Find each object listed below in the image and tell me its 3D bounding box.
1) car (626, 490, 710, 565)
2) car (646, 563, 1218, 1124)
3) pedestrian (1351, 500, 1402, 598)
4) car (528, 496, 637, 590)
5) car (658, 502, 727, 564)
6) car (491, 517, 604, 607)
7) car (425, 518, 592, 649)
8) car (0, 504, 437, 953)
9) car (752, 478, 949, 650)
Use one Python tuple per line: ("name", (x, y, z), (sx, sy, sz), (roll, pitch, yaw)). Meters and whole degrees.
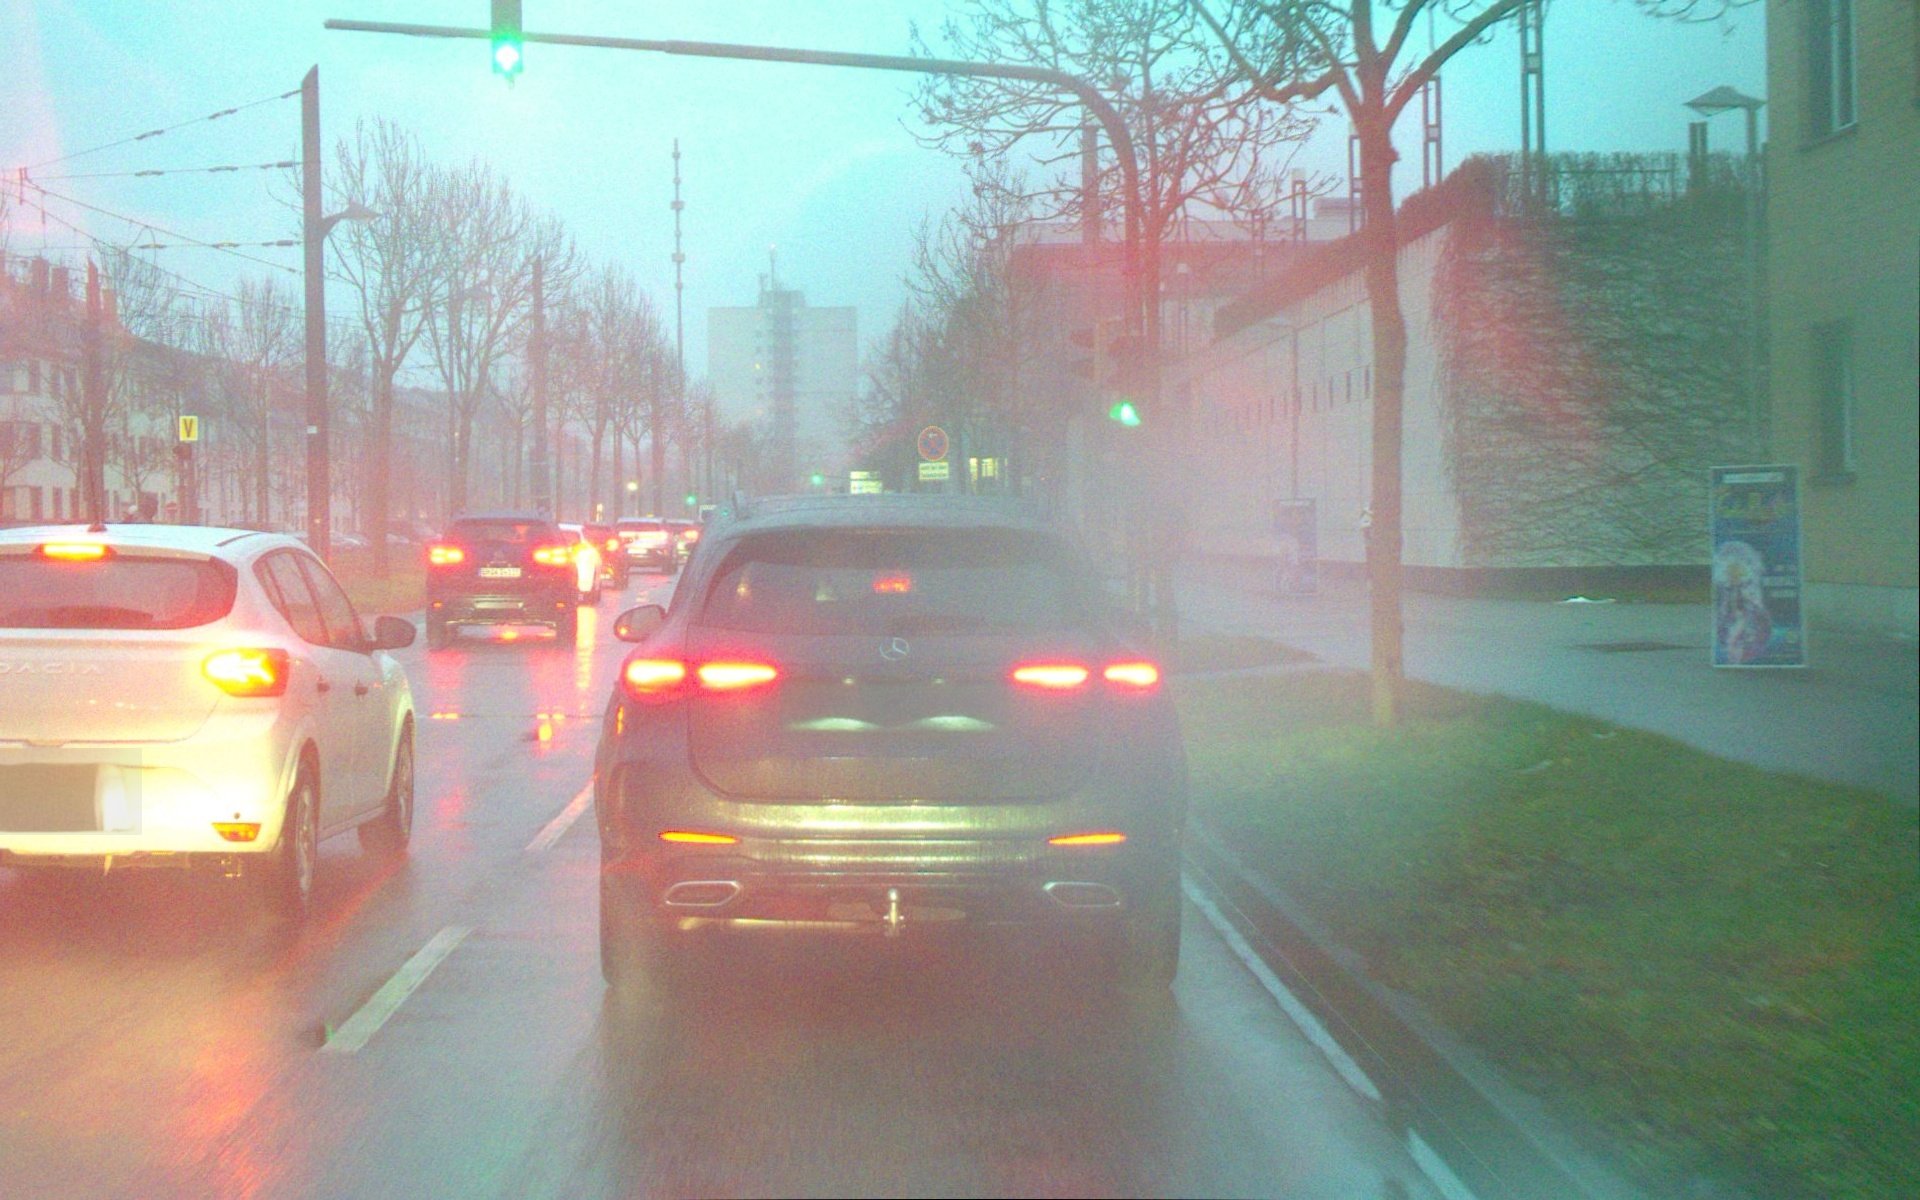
("car", (-8.159, -2.013, 96.408), (1.993, 2.007, 4.000), (1, 1, 0))
("car", (-0.125, 0.692, 12.084), (1.672, 1.594, 4.054), (0, 1, -1))
("pedestrian", (6.965, -0.863, 57.543), (0.621, 1.605, 1.067), (-1, 1, -5))
("car", (-8.416, -1.262, 76.985), (1.993, 2.007, 4.000), (1, 1, 0))
("car", (-8.965, -2.243, 115.487), (1.993, 2.007, 4.000), (1, 1, 0))
("car", (-7.542, -0.724, 63.126), (1.672, 1.594, 4.054), (0, 1, -1))
("car", (-5.704, -0.244, 43.794), (1.672, 1.594, 4.054), (0, 1, -1))
("car", (-3.269, 0.412, 14.241), (1.672, 1.594, 4.054), (0, 1, -1))
("car", (-1.162, -0.415, 37.342), (1.993, 1.738, 4.000), (-1, 1, -1))
